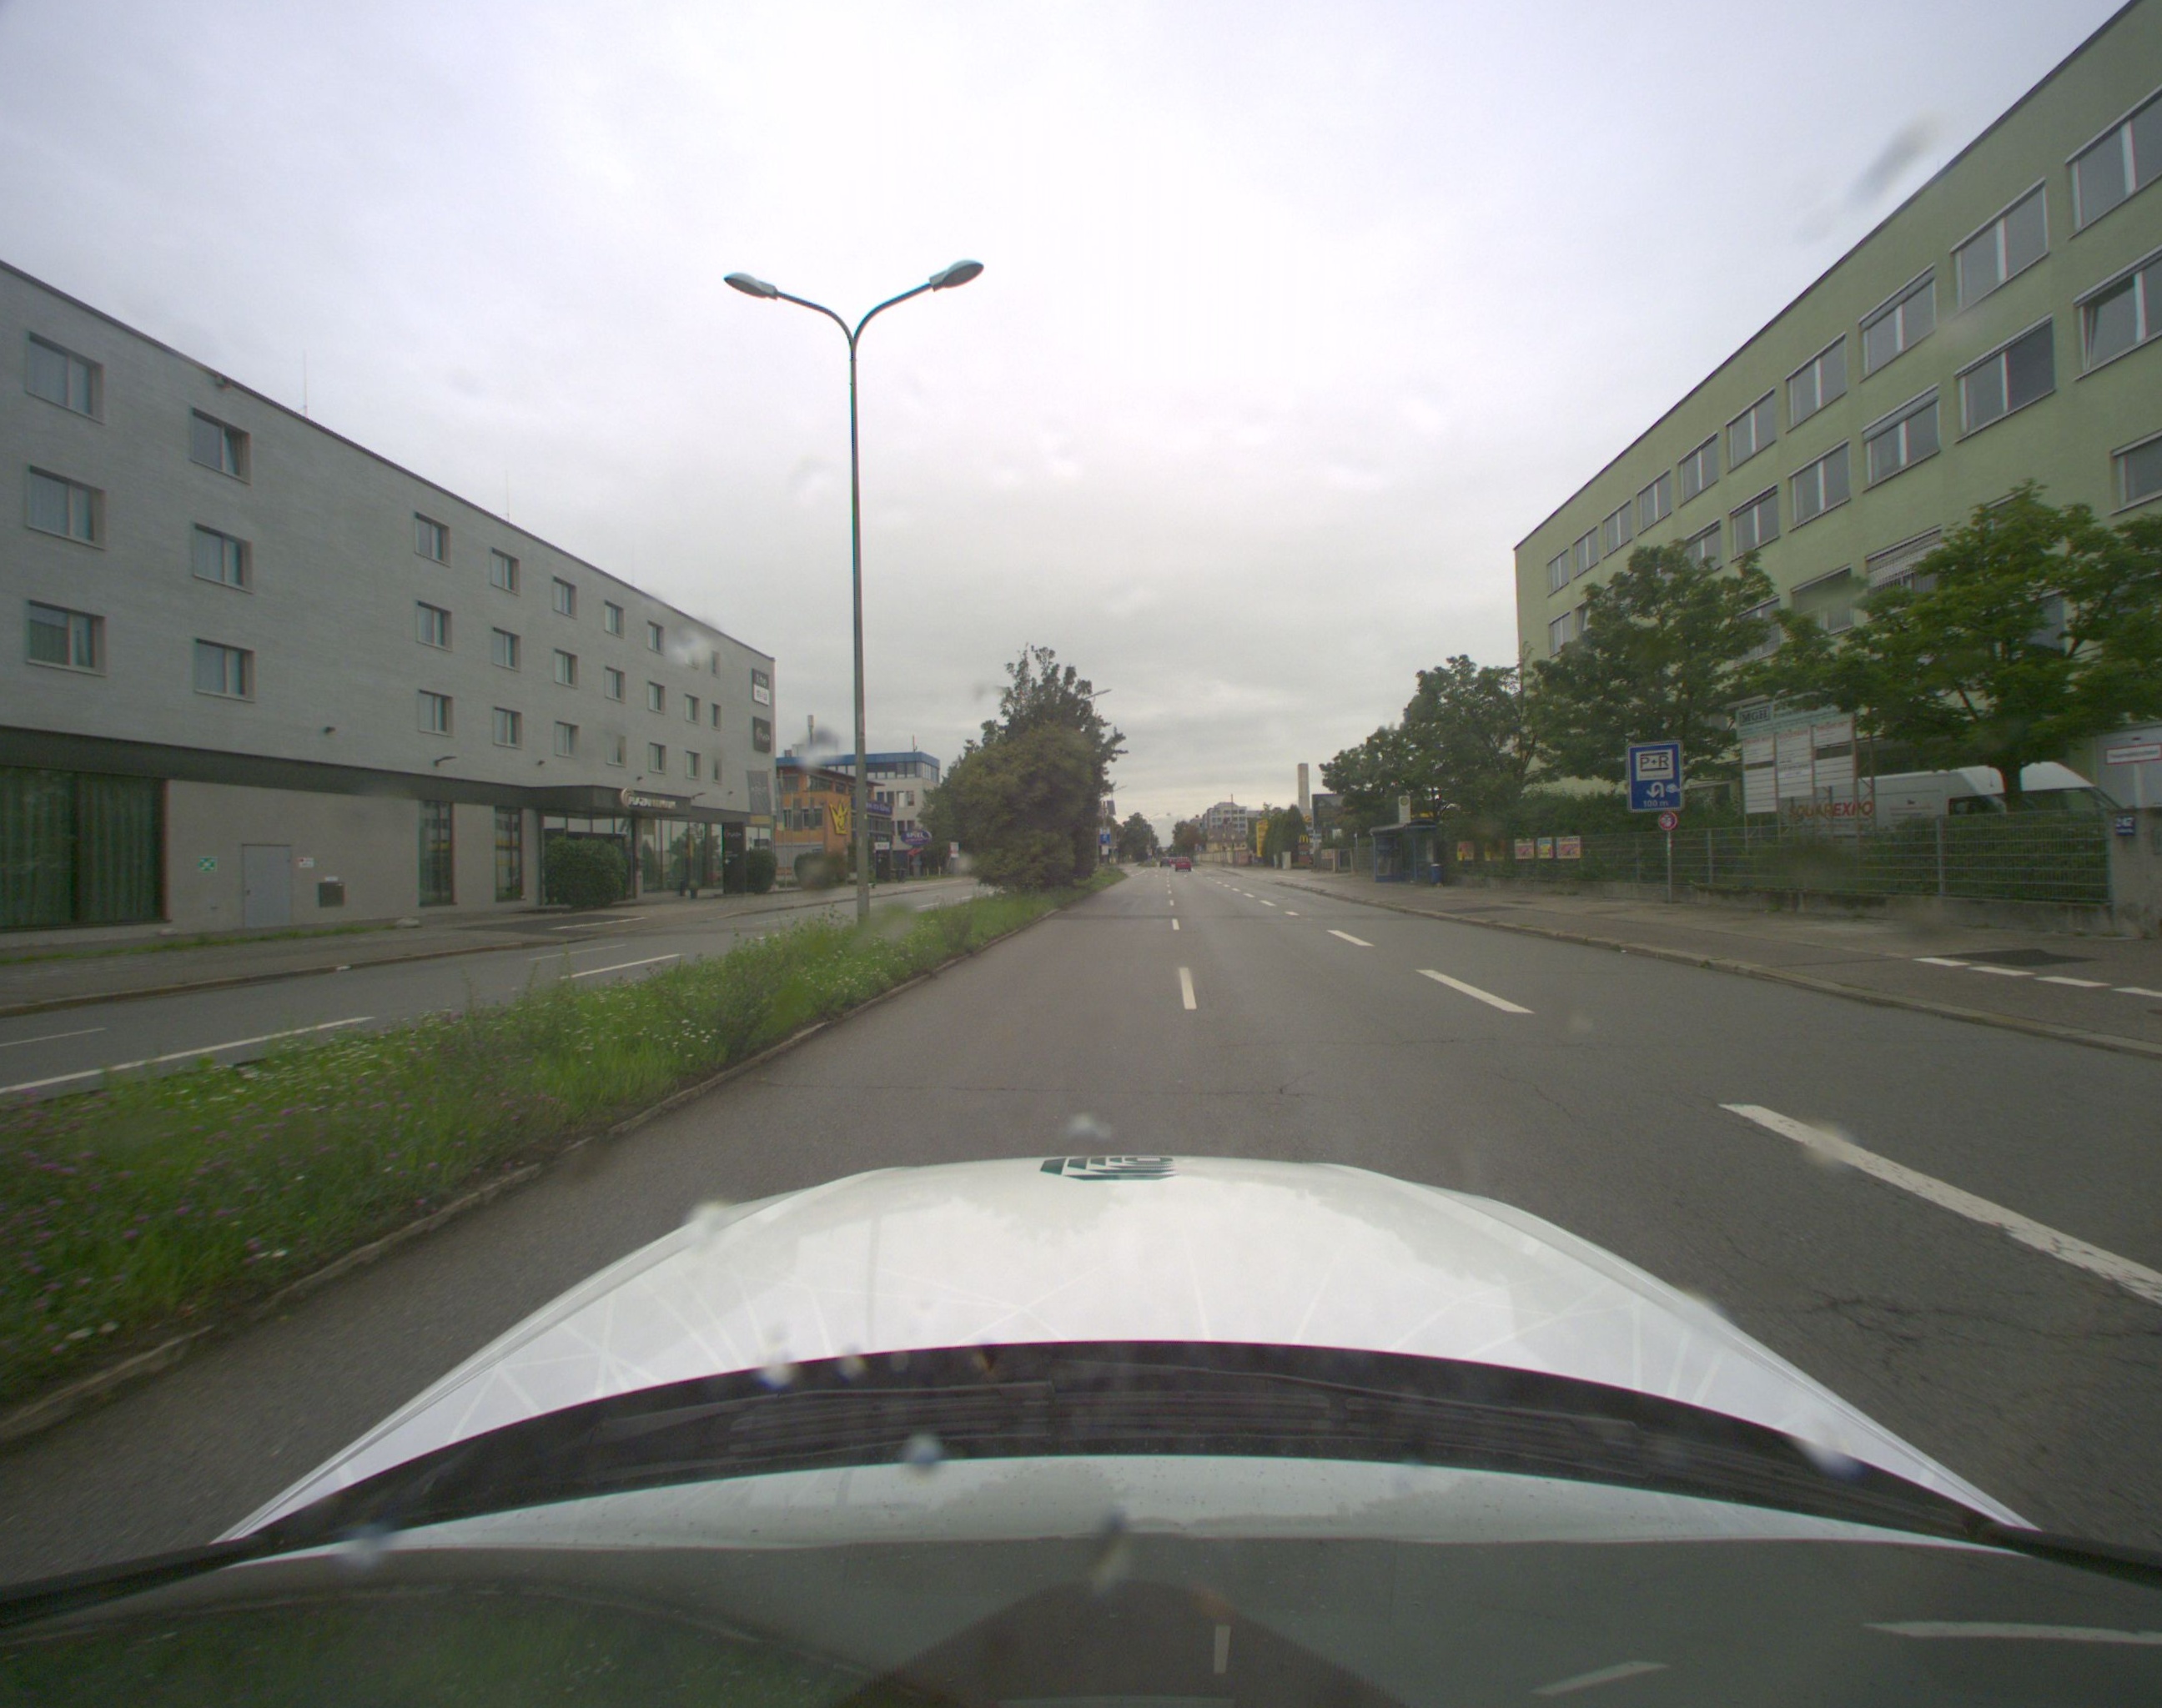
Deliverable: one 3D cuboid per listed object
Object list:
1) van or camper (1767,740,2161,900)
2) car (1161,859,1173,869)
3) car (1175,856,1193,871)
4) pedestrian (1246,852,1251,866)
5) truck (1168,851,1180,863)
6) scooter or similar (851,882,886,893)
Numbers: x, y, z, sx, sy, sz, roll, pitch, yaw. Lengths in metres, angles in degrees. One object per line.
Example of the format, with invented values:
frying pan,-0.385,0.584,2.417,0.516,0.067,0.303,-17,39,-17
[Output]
van or camper,17.517,-0.535,16.542,2.111,2.497,7.411,-2,0,11
car,14.161,1.655,134.891,1.795,1.432,4.004,-2,-1,4
car,11.879,1.095,94.186,1.854,1.618,4.004,-1,-1,4
pedestrian,20.537,0.585,99.837,0.480,1.636,0.592,-2,-1,9
truck,25.361,0.864,223.053,2.956,3.285,7.924,-2,-1,4
scooter or similar,-13.367,2.106,51.275,1.461,0.585,2.322,-2,-4,3
